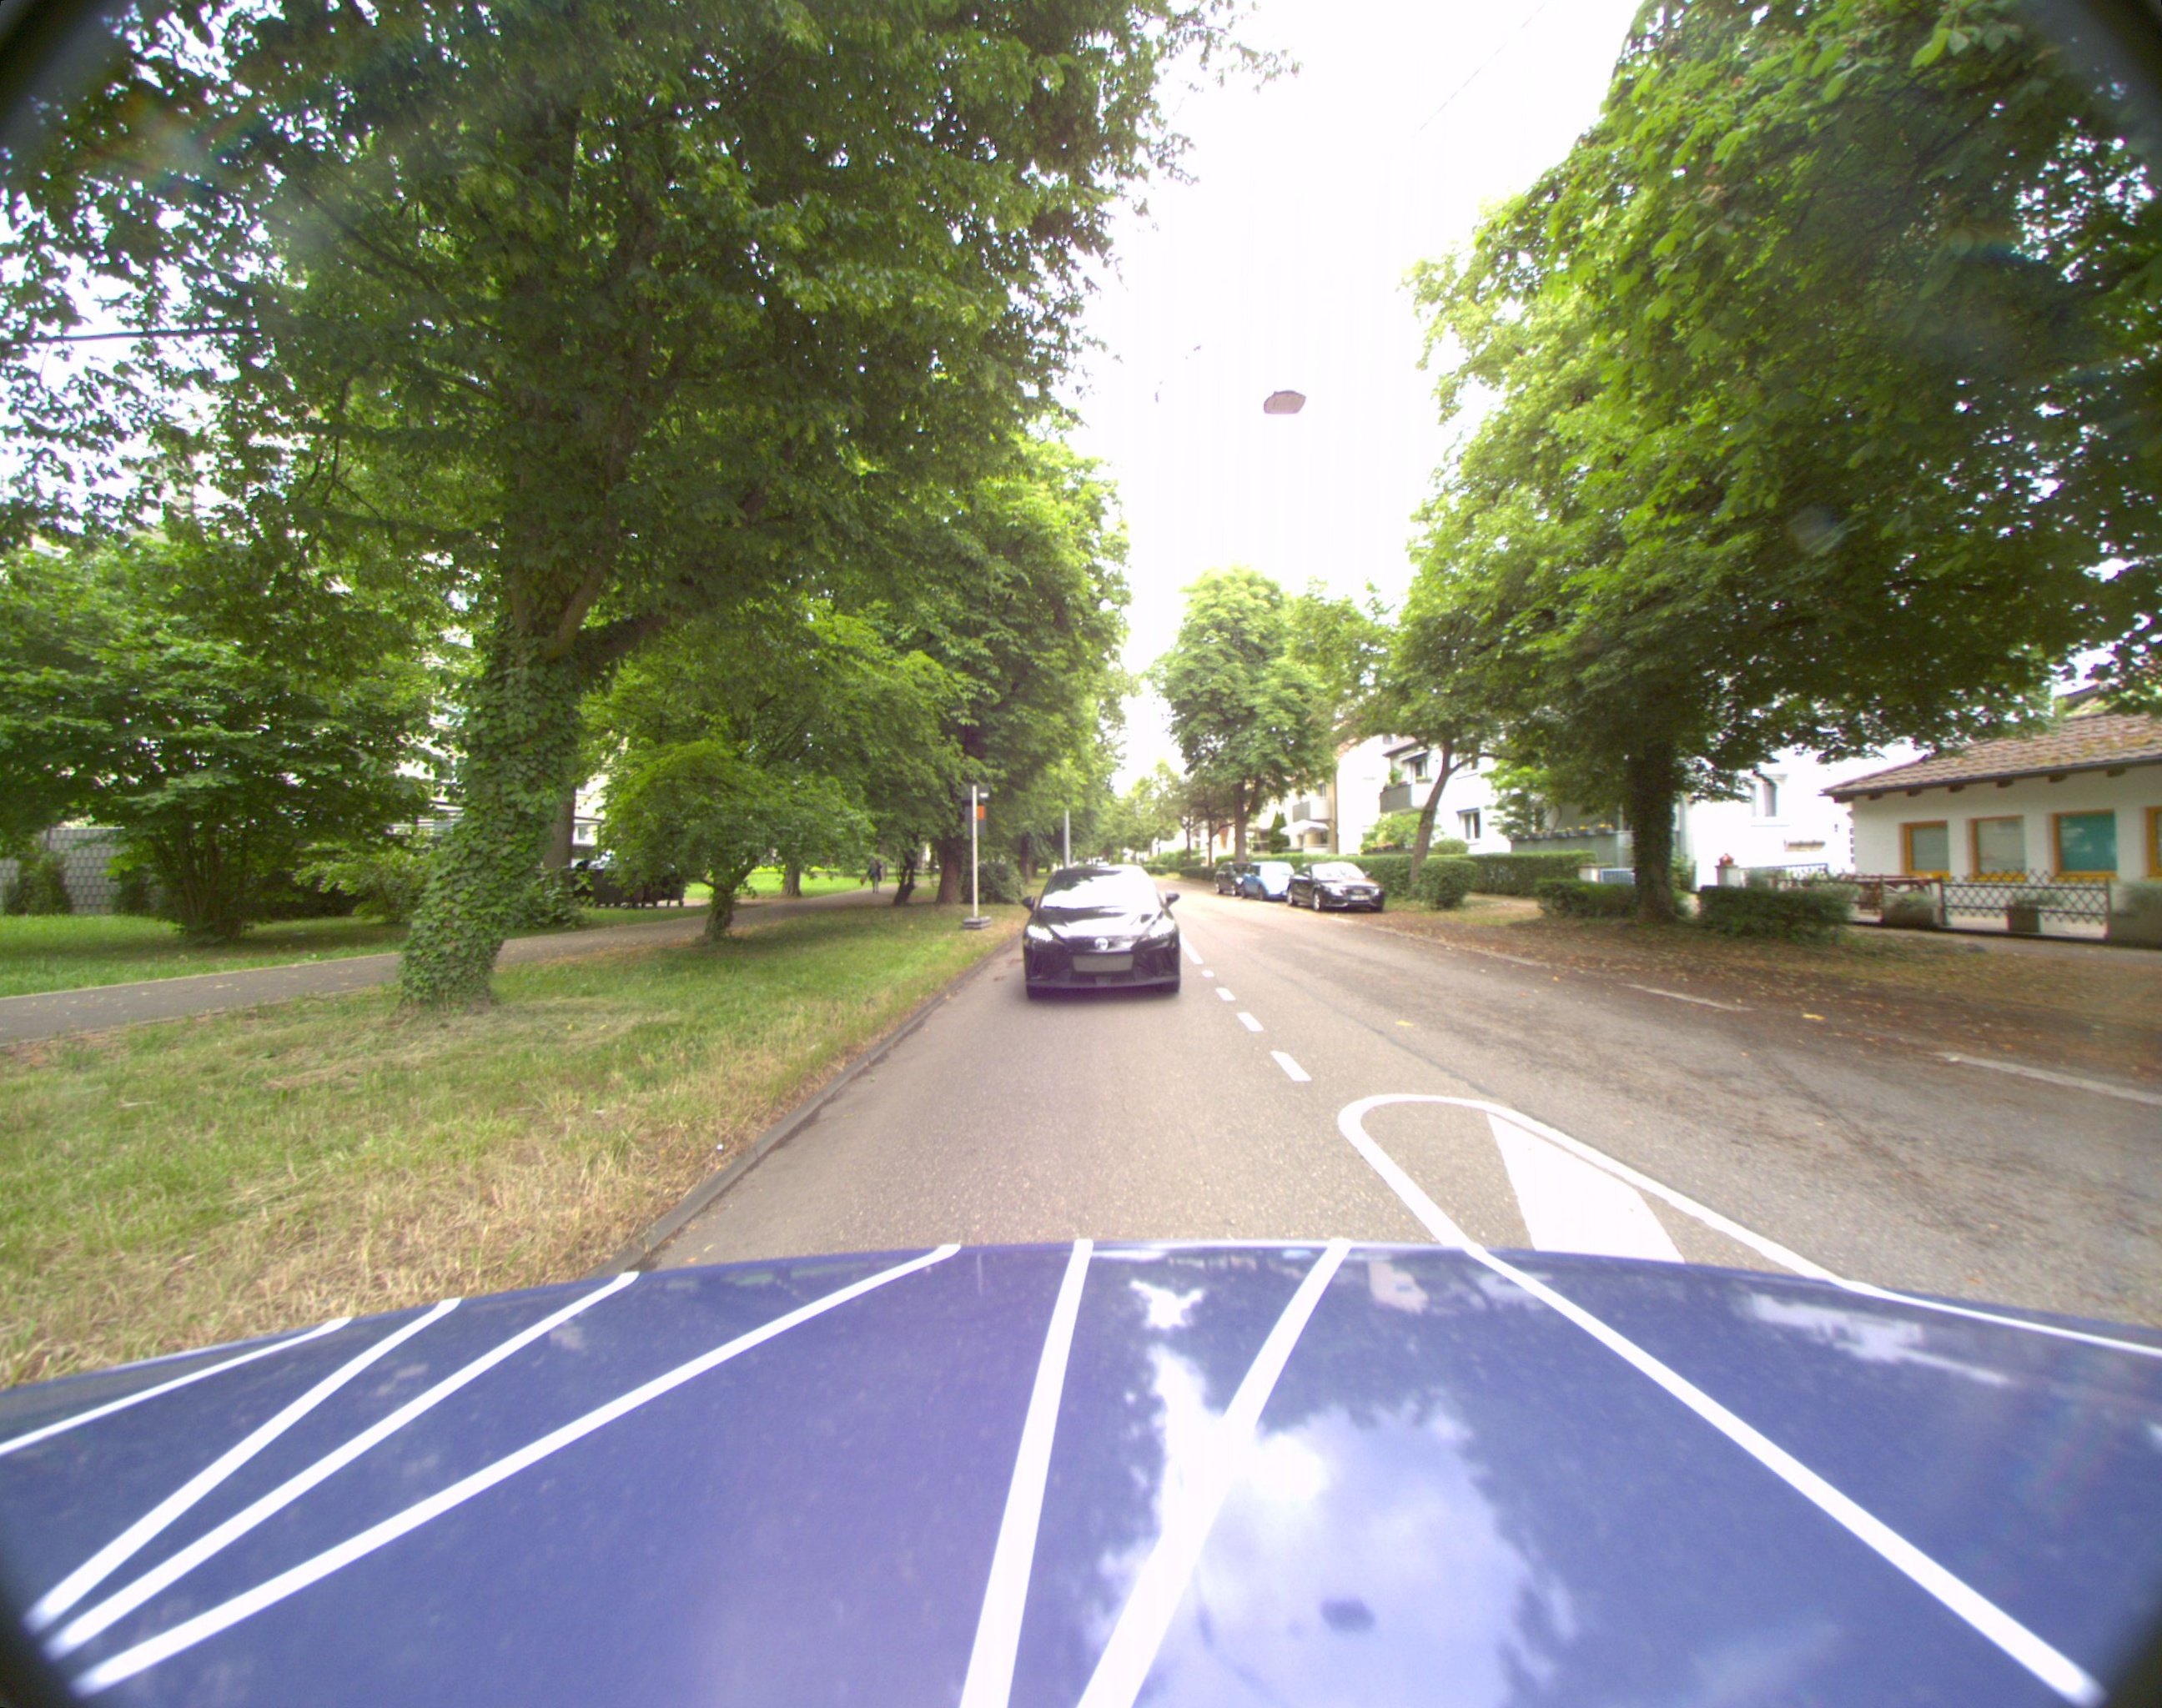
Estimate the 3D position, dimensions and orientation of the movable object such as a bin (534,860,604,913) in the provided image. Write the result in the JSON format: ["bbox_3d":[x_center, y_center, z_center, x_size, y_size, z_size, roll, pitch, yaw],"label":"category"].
[{"bbox_3d":[-14.636,0.910,21.777,1.194,1.448,1.348,0,0,-8],"label":"movable object such as a bin"}]

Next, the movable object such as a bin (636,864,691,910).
[{"bbox_3d":[-13.312,1.029,24.265,1.194,1.405,1.110,0,0,-8],"label":"movable object such as a bin"}]

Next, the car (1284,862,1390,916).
[{"bbox_3d":[7.341,0.953,22.216,1.735,1.394,4.172,0,0,1],"label":"car"}]

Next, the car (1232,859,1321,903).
[{"bbox_3d":[7.129,0.928,28.237,1.889,1.492,4.565,0,0,-3],"label":"car"}]

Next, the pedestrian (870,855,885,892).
[{"bbox_3d":[-9.641,0.924,36.023,0.565,1.730,0.570,1,0,0],"label":"pedestrian"}]

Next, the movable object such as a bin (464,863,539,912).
[{"bbox_3d":[-16.577,0.934,21.770,1.194,1.333,1.348,0,0,-8],"label":"movable object such as a bin"}]

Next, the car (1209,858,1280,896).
[{"bbox_3d":[6.988,0.938,32.990,1.889,1.524,4.565,0,0,-3],"label":"car"}]

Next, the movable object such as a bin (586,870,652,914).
[{"bbox_3d":[-13.320,1.066,21.972,1.194,1.213,1.348,0,0,-8],"label":"movable object such as a bin"}]

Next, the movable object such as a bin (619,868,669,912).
[{"bbox_3d":[-13.307,1.087,23.171,1.026,1.296,0.960,0,0,-8],"label":"movable object such as a bin"}]

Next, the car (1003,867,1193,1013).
[{"bbox_3d":[0.198,0.943,10.293,1.998,1.491,4.615,0,0,0],"label":"car"}]
